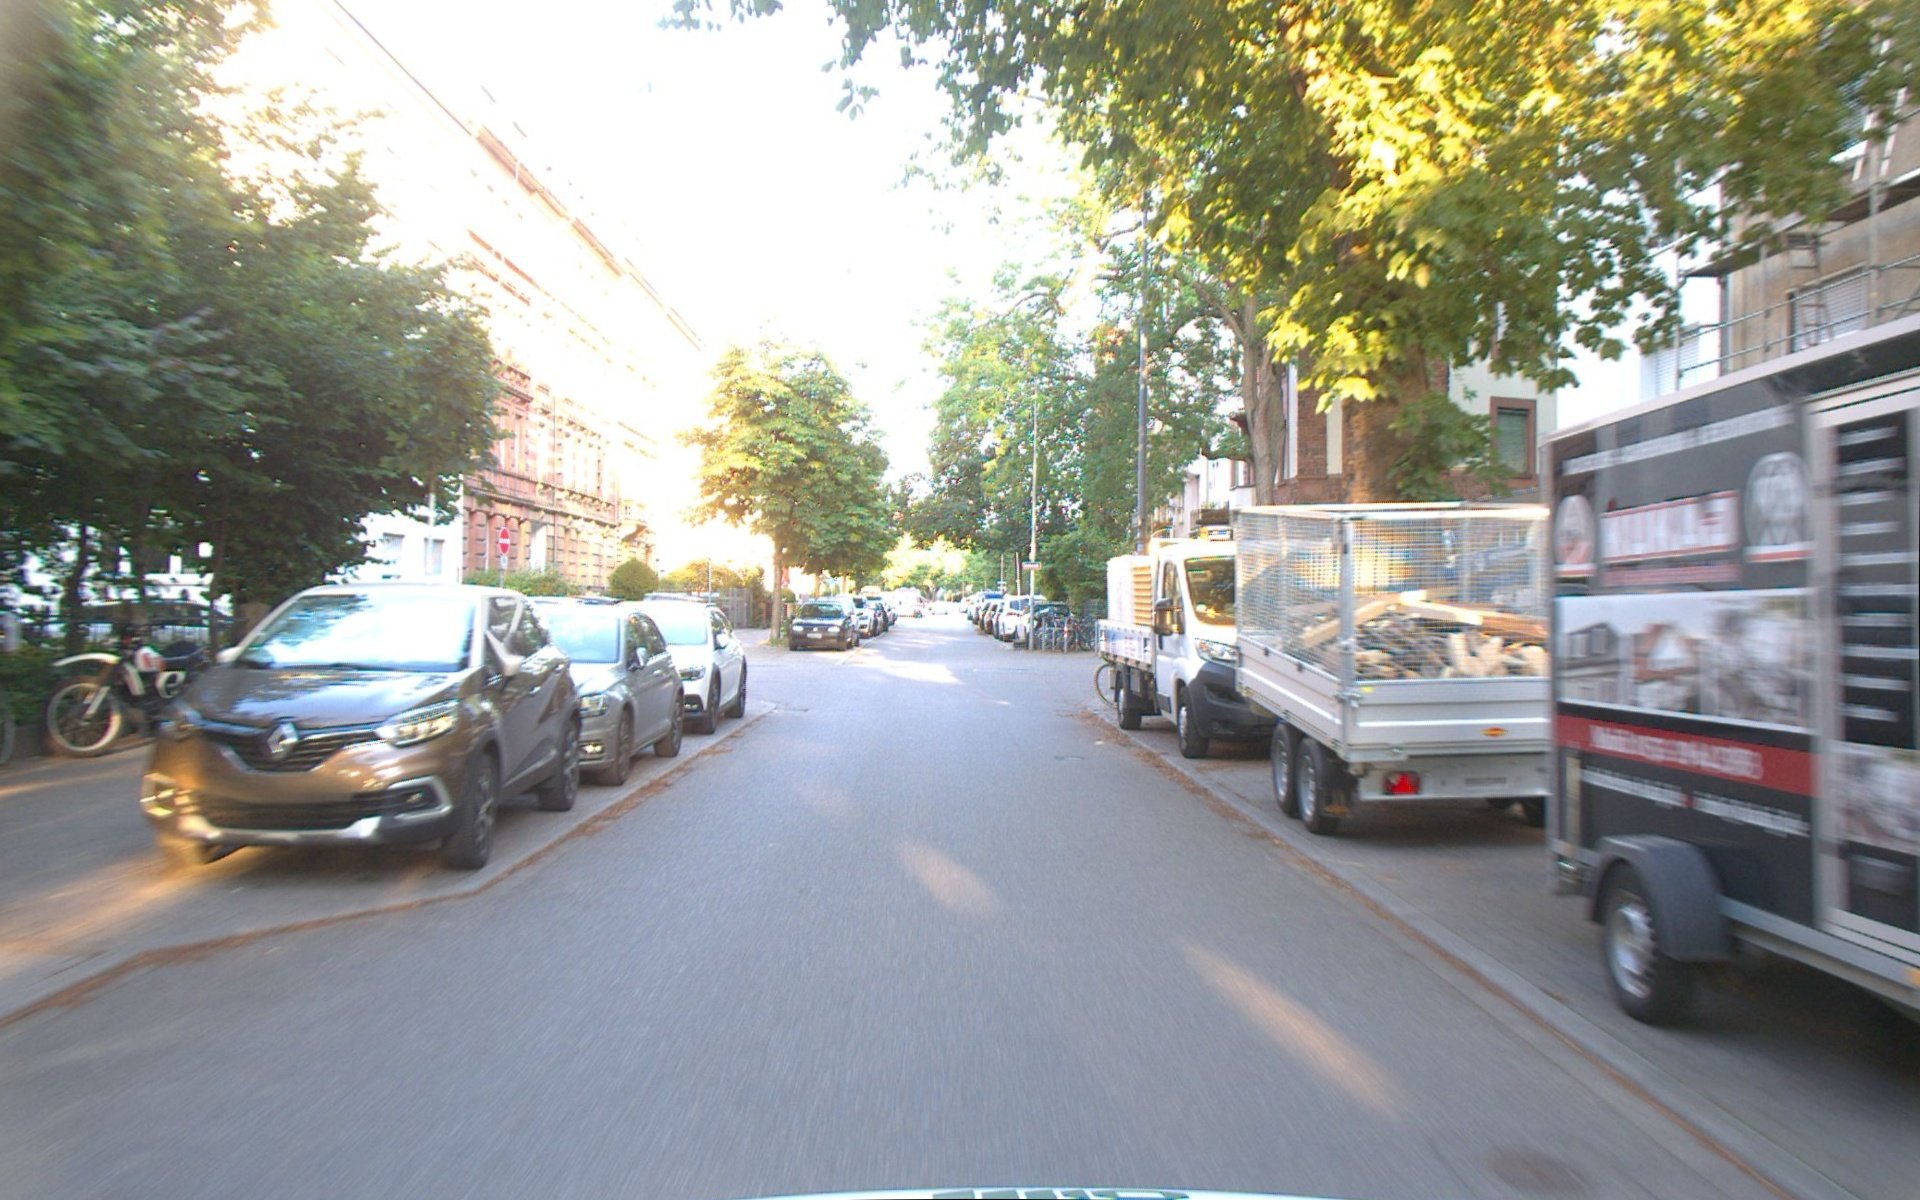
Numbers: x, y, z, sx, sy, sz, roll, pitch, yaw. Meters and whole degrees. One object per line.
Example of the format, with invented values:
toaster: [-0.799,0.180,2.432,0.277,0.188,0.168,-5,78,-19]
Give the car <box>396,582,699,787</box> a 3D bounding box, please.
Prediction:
car: [-3.480,0.659,14.781,1.655,1.528,4.401,1,-1,-1]

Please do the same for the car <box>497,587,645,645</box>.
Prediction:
car: [-10.563,0.426,45.011,3.487,1.472,1.819,1,1,8]

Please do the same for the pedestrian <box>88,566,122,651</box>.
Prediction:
pedestrian: [-17.840,0.175,34.510,0.527,1.711,0.579,1,2,-21]

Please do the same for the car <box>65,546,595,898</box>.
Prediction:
car: [-3.455,0.563,10.019,1.656,1.591,4.400,3,0,-3]

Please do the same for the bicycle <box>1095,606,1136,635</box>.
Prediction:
bicycle: [5.825,0.776,62.066,1.479,1.052,0.330,-1,1,-3]

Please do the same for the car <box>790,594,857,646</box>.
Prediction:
car: [-4.131,0.575,50.470,1.583,1.496,3.962,1,0,2]

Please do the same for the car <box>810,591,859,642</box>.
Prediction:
car: [-4.173,0.517,55.149,1.564,1.631,3.741,1,0,-4]

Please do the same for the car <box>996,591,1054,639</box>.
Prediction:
car: [2.393,0.547,61.819,1.762,1.741,4.598,0,0,-3]

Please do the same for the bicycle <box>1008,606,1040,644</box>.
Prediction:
bicycle: [2.036,0.782,52.531,0.434,1.193,1.635,0,0,24]

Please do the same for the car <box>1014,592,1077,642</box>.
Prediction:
car: [2.868,0.560,56.030,1.654,1.620,3.655,0,0,-5]

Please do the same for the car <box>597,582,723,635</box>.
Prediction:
car: [-10.374,0.288,57.450,4.011,1.554,1.708,4,0,-2]

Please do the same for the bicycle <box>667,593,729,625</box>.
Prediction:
bicycle: [-11.195,0.379,70.748,2.475,1.212,0.644,3,0,5]

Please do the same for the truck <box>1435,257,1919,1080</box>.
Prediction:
truck: [3.586,0.141,6.619,1.914,2.285,4.644,-2,1,-1]

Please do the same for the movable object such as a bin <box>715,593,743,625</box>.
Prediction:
movable object such as a bin: [-10.205,0.408,73.214,0.991,1.344,1.005,3,1,4]

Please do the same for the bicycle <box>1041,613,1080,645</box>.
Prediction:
bicycle: [3.156,0.910,51.713,1.207,0.964,0.328,0,1,-23]

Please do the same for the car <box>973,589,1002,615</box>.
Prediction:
car: [1.678,0.134,101.412,1.508,1.548,3.429,1,0,-3]

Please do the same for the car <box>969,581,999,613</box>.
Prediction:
car: [1.517,-0.163,105.231,1.647,1.975,3.878,1,0,-3]

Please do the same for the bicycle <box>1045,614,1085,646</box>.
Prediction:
bicycle: [3.236,0.922,51.015,1.207,0.974,0.328,0,1,-23]

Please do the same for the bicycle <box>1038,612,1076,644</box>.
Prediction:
bicycle: [3.069,0.888,52.325,1.210,0.968,0.327,-1,1,-29]

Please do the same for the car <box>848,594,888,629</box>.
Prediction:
car: [-4.328,0.533,78.200,1.681,1.594,3.787,1,0,-1]

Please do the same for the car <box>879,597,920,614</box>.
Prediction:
car: [-5.286,0.479,144.866,3.547,1.487,1.605,1,0,-5]

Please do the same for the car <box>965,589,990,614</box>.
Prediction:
car: [1.301,0.118,125.799,1.653,1.843,3.937,1,0,-3]

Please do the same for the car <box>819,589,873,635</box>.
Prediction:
car: [-4.556,0.456,66.688,1.882,1.747,4.427,1,0,-1]

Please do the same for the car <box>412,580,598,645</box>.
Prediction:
car: [-11.020,0.280,40.191,4.005,1.472,1.710,1,1,8]

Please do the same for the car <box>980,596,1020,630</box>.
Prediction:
car: [1.829,0.588,76.840,1.652,1.466,4.208,-2,0,-1]

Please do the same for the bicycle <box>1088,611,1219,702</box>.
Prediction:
bicycle: [2.883,0.837,24.694,1.866,1.280,0.406,-2,0,-7]

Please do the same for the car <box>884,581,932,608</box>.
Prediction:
car: [-4.668,-0.476,147.696,4.262,2.358,1.745,1,0,-3]

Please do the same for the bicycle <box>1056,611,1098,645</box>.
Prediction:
bicycle: [3.540,0.847,50.096,1.200,1.005,0.330,-1,1,-5]

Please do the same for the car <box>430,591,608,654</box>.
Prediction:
car: [-11.275,0.558,42.401,4.005,1.472,1.819,1,1,9]

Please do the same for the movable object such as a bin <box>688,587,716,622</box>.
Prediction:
movable object such as a bin: [-11.407,0.198,73.024,1.078,1.439,1.001,2,1,-15]

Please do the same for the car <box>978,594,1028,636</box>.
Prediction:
car: [1.710,0.602,67.258,1.653,1.634,4.206,1,0,-3]

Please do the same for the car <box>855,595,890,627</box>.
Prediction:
car: [-4.575,0.543,87.057,1.681,1.624,4.518,1,0,-1]

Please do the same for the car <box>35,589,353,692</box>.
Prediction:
car: [-12.363,0.621,26.955,4.372,1.579,1.705,0,1,-11]

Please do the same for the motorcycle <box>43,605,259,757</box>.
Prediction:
motorcycle: [-7.392,0.684,15.307,0.570,1.176,2.891,3,1,-1]

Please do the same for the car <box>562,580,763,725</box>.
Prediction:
car: [-3.593,0.568,20.781,1.655,1.528,4.737,3,0,-1]

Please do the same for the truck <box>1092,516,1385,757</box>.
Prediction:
truck: [2.927,0.369,19.130,1.937,2.284,6.772,0,0,-3]

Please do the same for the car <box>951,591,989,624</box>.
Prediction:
car: [0.494,0.382,84.848,1.653,1.634,3.937,1,0,-3]

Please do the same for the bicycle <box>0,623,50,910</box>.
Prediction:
bicycle: [-4.554,0.752,6.780,0.472,1.277,1.900,4,0,2]

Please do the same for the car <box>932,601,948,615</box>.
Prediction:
car: [-2.407,1.000,198.908,1.776,1.624,3.482,1,0,-1]

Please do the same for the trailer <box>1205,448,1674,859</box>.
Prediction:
trailer: [3.168,0.299,12.048,1.914,2.335,4.644,-2,0,-1]

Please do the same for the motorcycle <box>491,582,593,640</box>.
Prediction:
motorcycle: [-12.108,0.313,47.942,2.791,1.667,0.675,0,0,7]

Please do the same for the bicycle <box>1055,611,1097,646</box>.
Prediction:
bicycle: [3.482,0.861,49.705,1.199,1.004,0.330,-1,1,-3]

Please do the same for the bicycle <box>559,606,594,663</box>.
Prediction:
bicycle: [-8.385,0.751,36.152,0.332,1.202,1.861,1,-1,-26]

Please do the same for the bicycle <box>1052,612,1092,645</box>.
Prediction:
bicycle: [3.429,0.877,50.624,1.205,0.980,0.329,0,1,-18]

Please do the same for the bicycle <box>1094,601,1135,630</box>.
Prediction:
bicycle: [5.821,0.596,62.396,1.479,1.052,0.330,-1,1,-3]

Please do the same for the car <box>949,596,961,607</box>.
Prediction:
car: [-0.787,0.258,244.513,1.681,1.624,3.482,1,0,-1]
